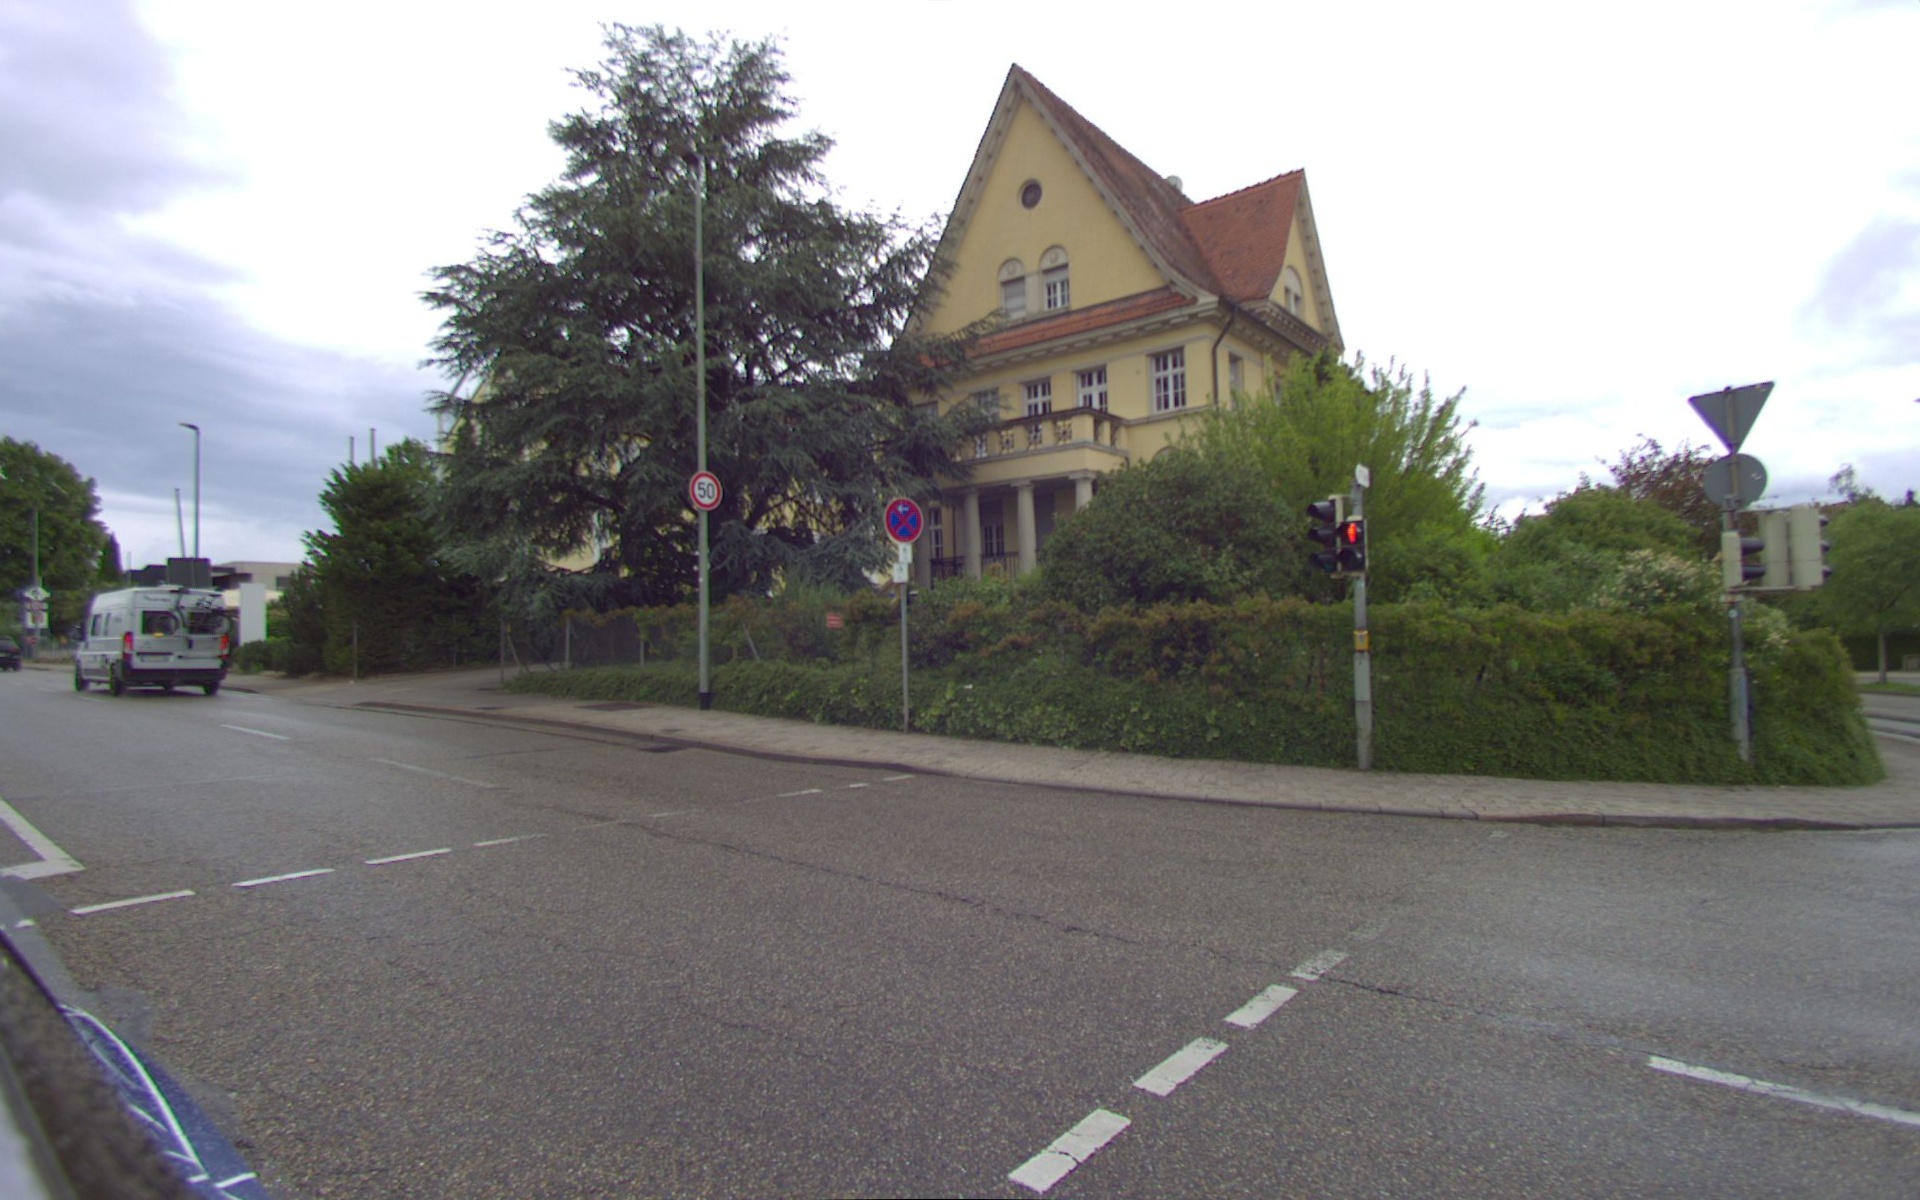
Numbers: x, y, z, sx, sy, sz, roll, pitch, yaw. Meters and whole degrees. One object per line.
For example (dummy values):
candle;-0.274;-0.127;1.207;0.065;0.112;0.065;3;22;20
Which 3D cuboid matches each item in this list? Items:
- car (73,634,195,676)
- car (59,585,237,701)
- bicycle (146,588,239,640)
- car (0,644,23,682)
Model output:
car;-35.009;2.304;42.963;3.876;1.664;1.720;1;-2;-44
car;-20.145;1.056;25.015;5.769;2.547;2.274;-2;-4;40
bicycle;-17.580;0.349;23.214;0.467;1.134;1.620;-3;-4;39
car;-41.226;2.658;42.802;4.468;1.513;1.758;-1;-2;40
